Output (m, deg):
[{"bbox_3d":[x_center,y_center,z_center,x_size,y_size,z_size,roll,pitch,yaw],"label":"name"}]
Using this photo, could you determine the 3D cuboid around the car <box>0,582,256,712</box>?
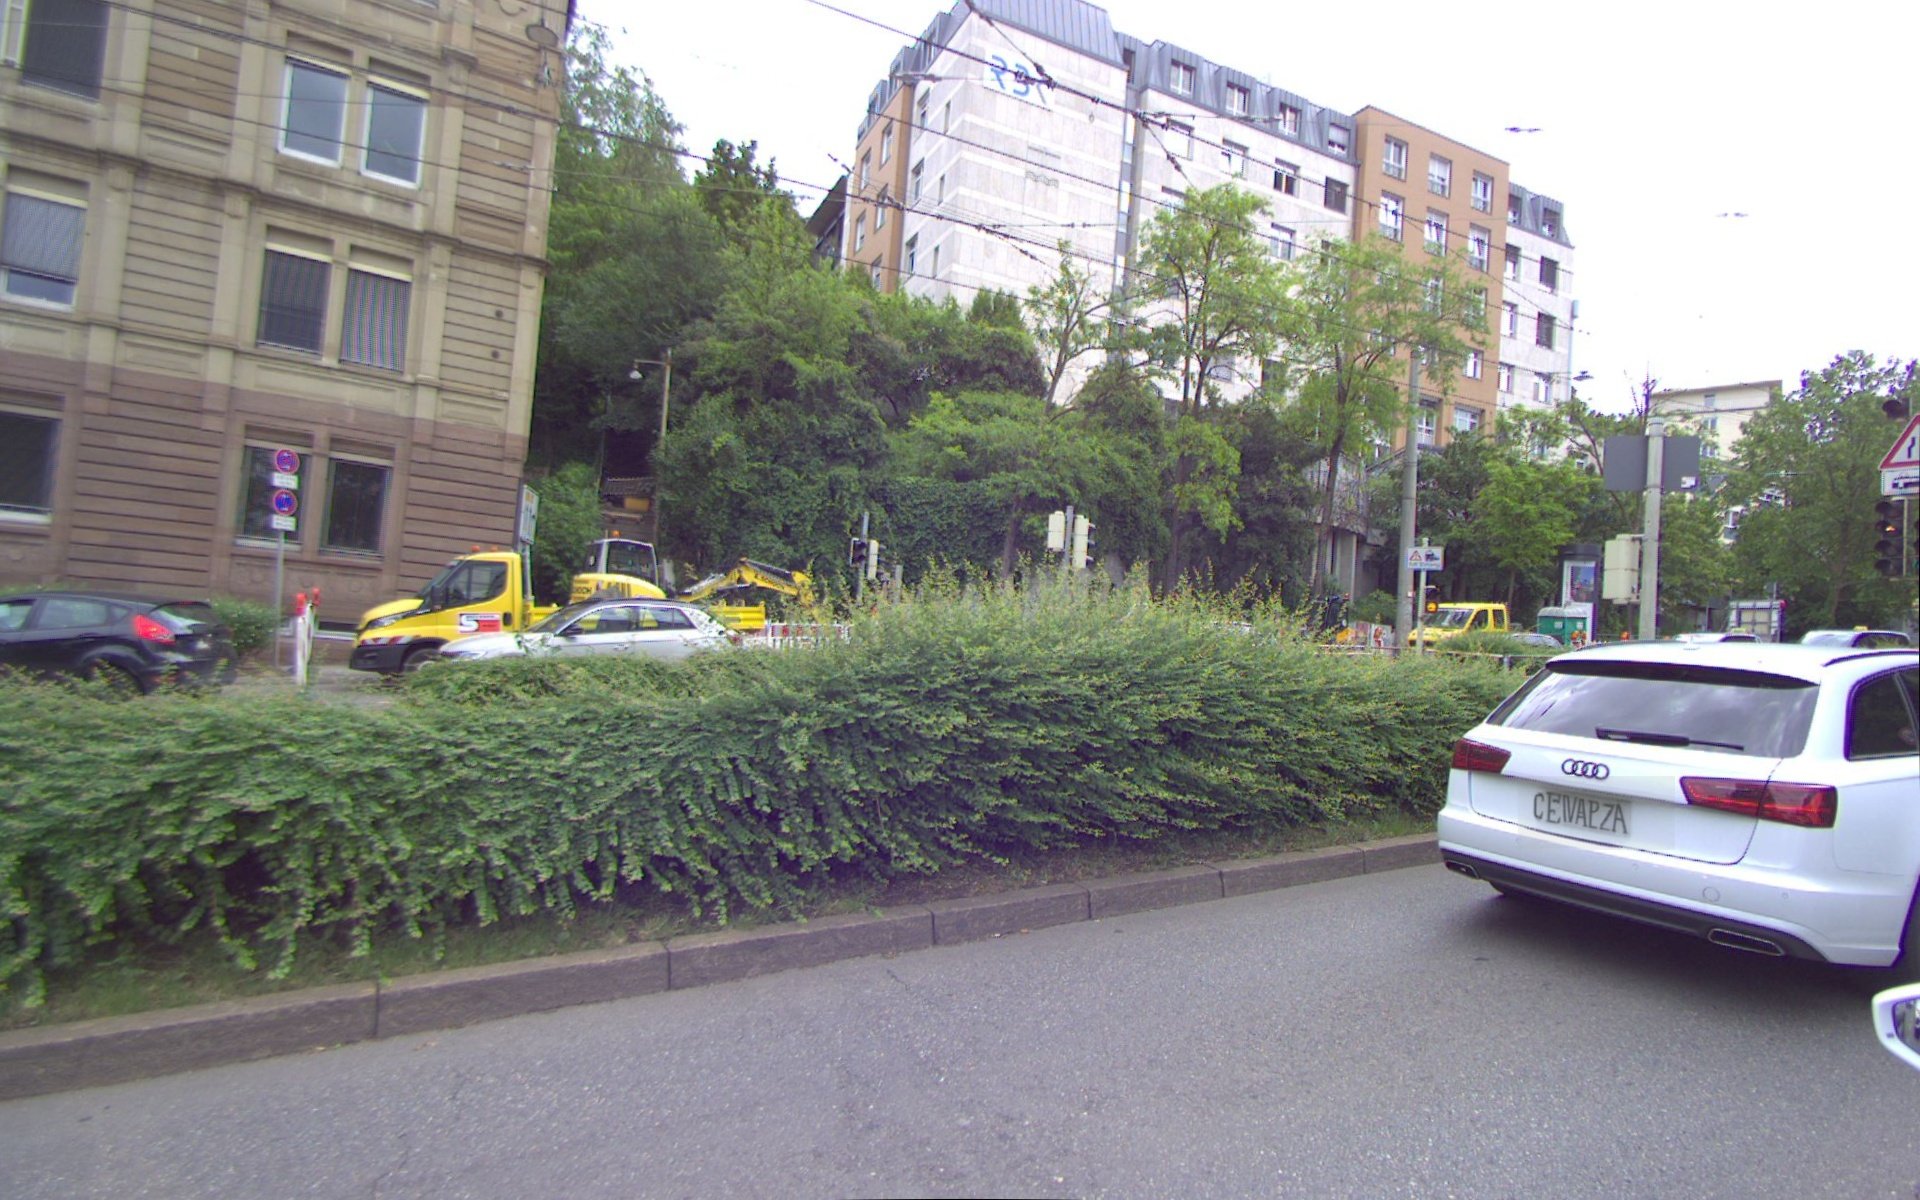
[{"bbox_3d":[-11.029,0.542,12.338,3.499,1.473,1.648,1,-1,-8],"label":"car"}]

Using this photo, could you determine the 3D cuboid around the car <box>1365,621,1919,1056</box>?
[{"bbox_3d":[4.494,0.912,5.430,4.563,1.474,1.870,2,-1,-30],"label":"car"}]

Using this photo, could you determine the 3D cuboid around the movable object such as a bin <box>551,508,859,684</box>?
[{"bbox_3d":[-5.832,0.027,23.661,6.498,3.595,2.723,2,-2,-41],"label":"movable object such as a bin"}]

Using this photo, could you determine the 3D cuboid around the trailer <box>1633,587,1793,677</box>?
[{"bbox_3d":[27.239,1.165,36.331,5.509,3.013,2.015,2,0,-23],"label":"trailer"}]

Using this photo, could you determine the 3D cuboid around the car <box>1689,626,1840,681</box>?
[{"bbox_3d":[25.748,1.696,32.159,4.557,1.626,1.988,2,-2,-25],"label":"car"}]

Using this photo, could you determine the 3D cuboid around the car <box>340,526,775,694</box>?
[{"bbox_3d":[-6.861,0.257,17.603,6.685,2.468,2.425,2,-1,-34],"label":"car"}]

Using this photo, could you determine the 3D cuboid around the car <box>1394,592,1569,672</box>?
[{"bbox_3d":[18.233,1.151,35.038,6.253,2.628,2.149,2,-1,-27],"label":"car"}]

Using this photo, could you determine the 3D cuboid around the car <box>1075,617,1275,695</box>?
[{"bbox_3d":[4.519,1.142,21.021,3.954,1.481,1.770,2,-2,-31],"label":"car"}]

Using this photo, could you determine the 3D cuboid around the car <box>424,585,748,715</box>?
[{"bbox_3d":[-5.176,0.683,14.117,3.960,1.588,1.692,2,-2,-35],"label":"car"}]

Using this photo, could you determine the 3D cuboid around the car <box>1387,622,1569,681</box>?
[{"bbox_3d":[13.704,1.386,26.518,4.784,1.454,1.875,2,-3,-28],"label":"car"}]

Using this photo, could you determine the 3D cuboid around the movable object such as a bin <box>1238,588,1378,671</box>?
[{"bbox_3d":[11.159,0.925,32.208,4.044,2.501,1.926,1,1,-26],"label":"movable object such as a bin"}]

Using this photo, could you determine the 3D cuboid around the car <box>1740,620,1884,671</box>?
[{"bbox_3d":[28.679,1.531,33.806,4.547,1.626,1.988,2,-2,-25],"label":"car"}]

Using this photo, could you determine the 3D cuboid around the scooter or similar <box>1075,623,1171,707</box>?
[{"bbox_3d":[2.683,1.049,16.578,1.471,1.313,0.532,0,-1,30],"label":"scooter or similar"}]
